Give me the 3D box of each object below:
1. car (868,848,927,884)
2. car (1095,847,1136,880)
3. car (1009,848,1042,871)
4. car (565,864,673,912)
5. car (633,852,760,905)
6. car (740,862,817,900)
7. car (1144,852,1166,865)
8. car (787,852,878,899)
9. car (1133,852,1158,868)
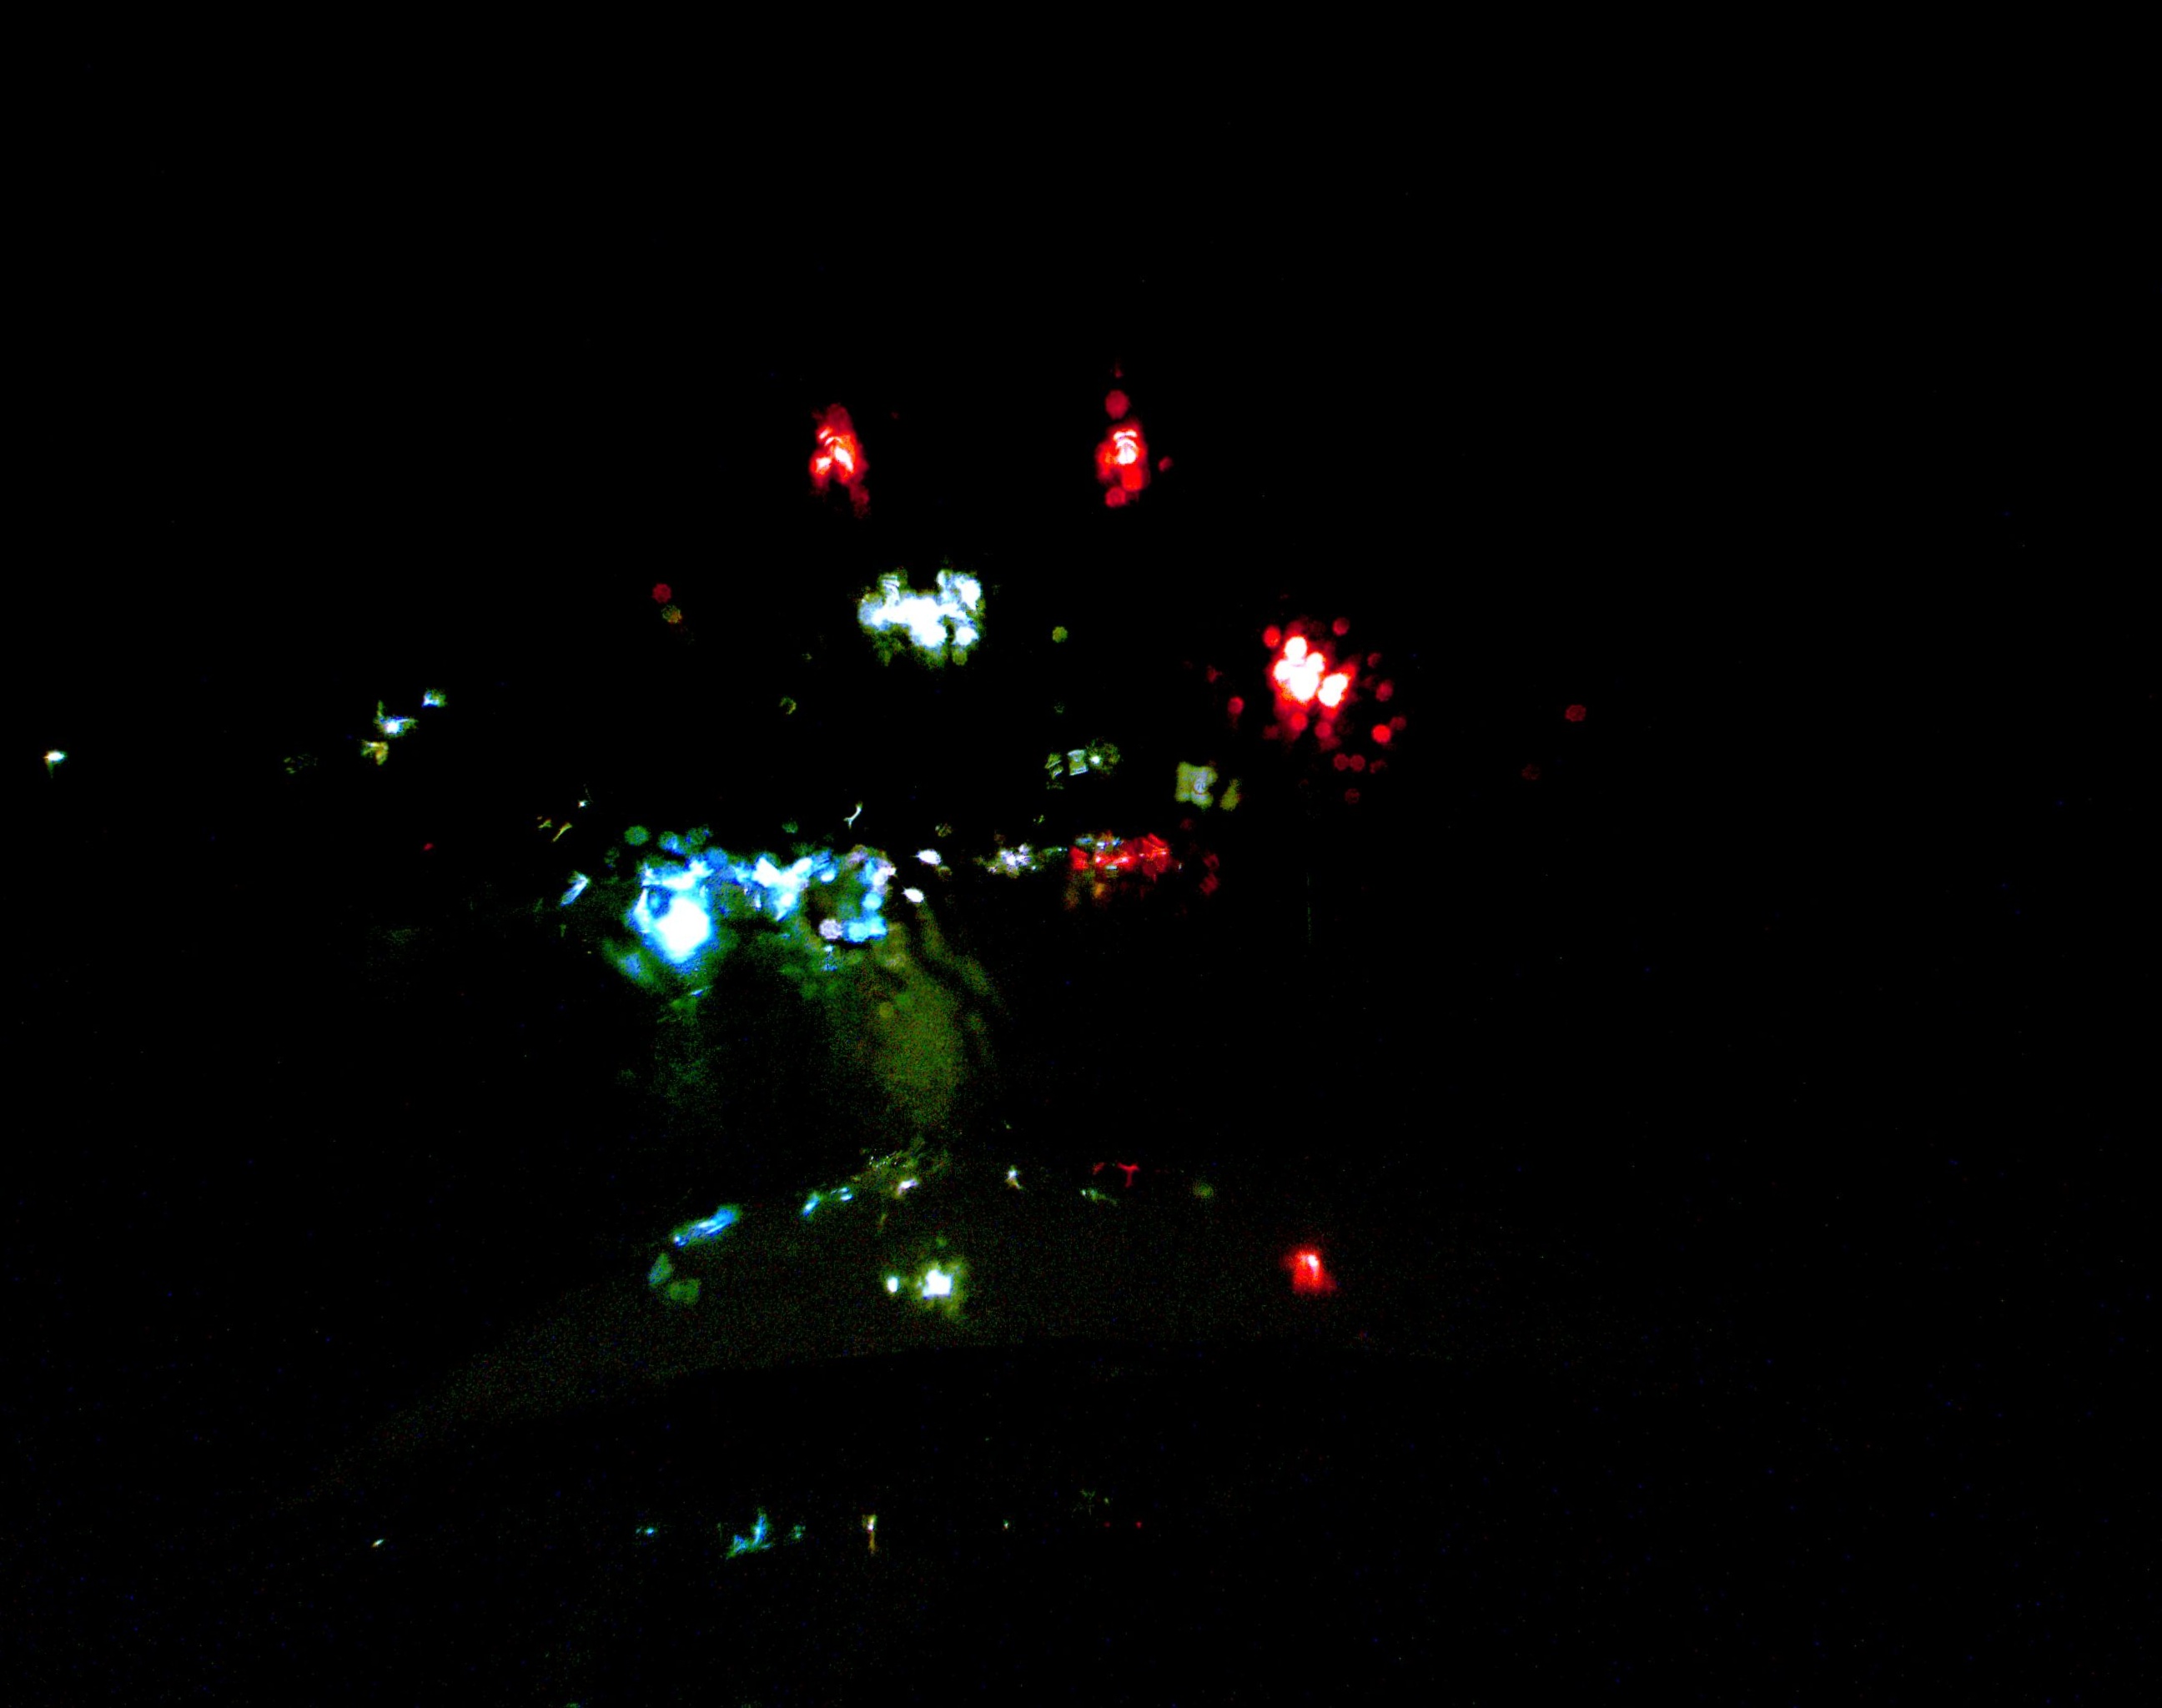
[{"bbox_3d":[-8.410,0.548,37.599,1.577,1.526,3.658,-1,-1,6],"label":"car"},{"bbox_3d":[1.809,0.510,42.893,1.986,1.611,4.104,-1,-1,2],"label":"car"},{"bbox_3d":[-4.289,0.435,63.471,1.708,1.703,4.151,-1,-1,7],"label":"car"},{"bbox_3d":[-20.399,1.455,36.015,4.017,1.831,1.703,-2,0,-35],"label":"car"},{"bbox_3d":[-12.761,0.749,27.435,1.785,1.571,4.916,-1,0,2],"label":"car"},{"bbox_3d":[-12.550,1.081,33.983,1.661,1.454,3.730,-1,-1,3],"label":"car"},{"bbox_3d":[7.771,0.472,85.866,2.099,1.339,4.296,-1,-1,2],"label":"car"},{"bbox_3d":[-9.179,0.747,30.470,1.691,1.571,4.716,-1,0,3],"label":"car"},{"bbox_3d":[5.807,0.556,73.943,2.095,1.439,4.002,-1,-1,2],"label":"car"}]
